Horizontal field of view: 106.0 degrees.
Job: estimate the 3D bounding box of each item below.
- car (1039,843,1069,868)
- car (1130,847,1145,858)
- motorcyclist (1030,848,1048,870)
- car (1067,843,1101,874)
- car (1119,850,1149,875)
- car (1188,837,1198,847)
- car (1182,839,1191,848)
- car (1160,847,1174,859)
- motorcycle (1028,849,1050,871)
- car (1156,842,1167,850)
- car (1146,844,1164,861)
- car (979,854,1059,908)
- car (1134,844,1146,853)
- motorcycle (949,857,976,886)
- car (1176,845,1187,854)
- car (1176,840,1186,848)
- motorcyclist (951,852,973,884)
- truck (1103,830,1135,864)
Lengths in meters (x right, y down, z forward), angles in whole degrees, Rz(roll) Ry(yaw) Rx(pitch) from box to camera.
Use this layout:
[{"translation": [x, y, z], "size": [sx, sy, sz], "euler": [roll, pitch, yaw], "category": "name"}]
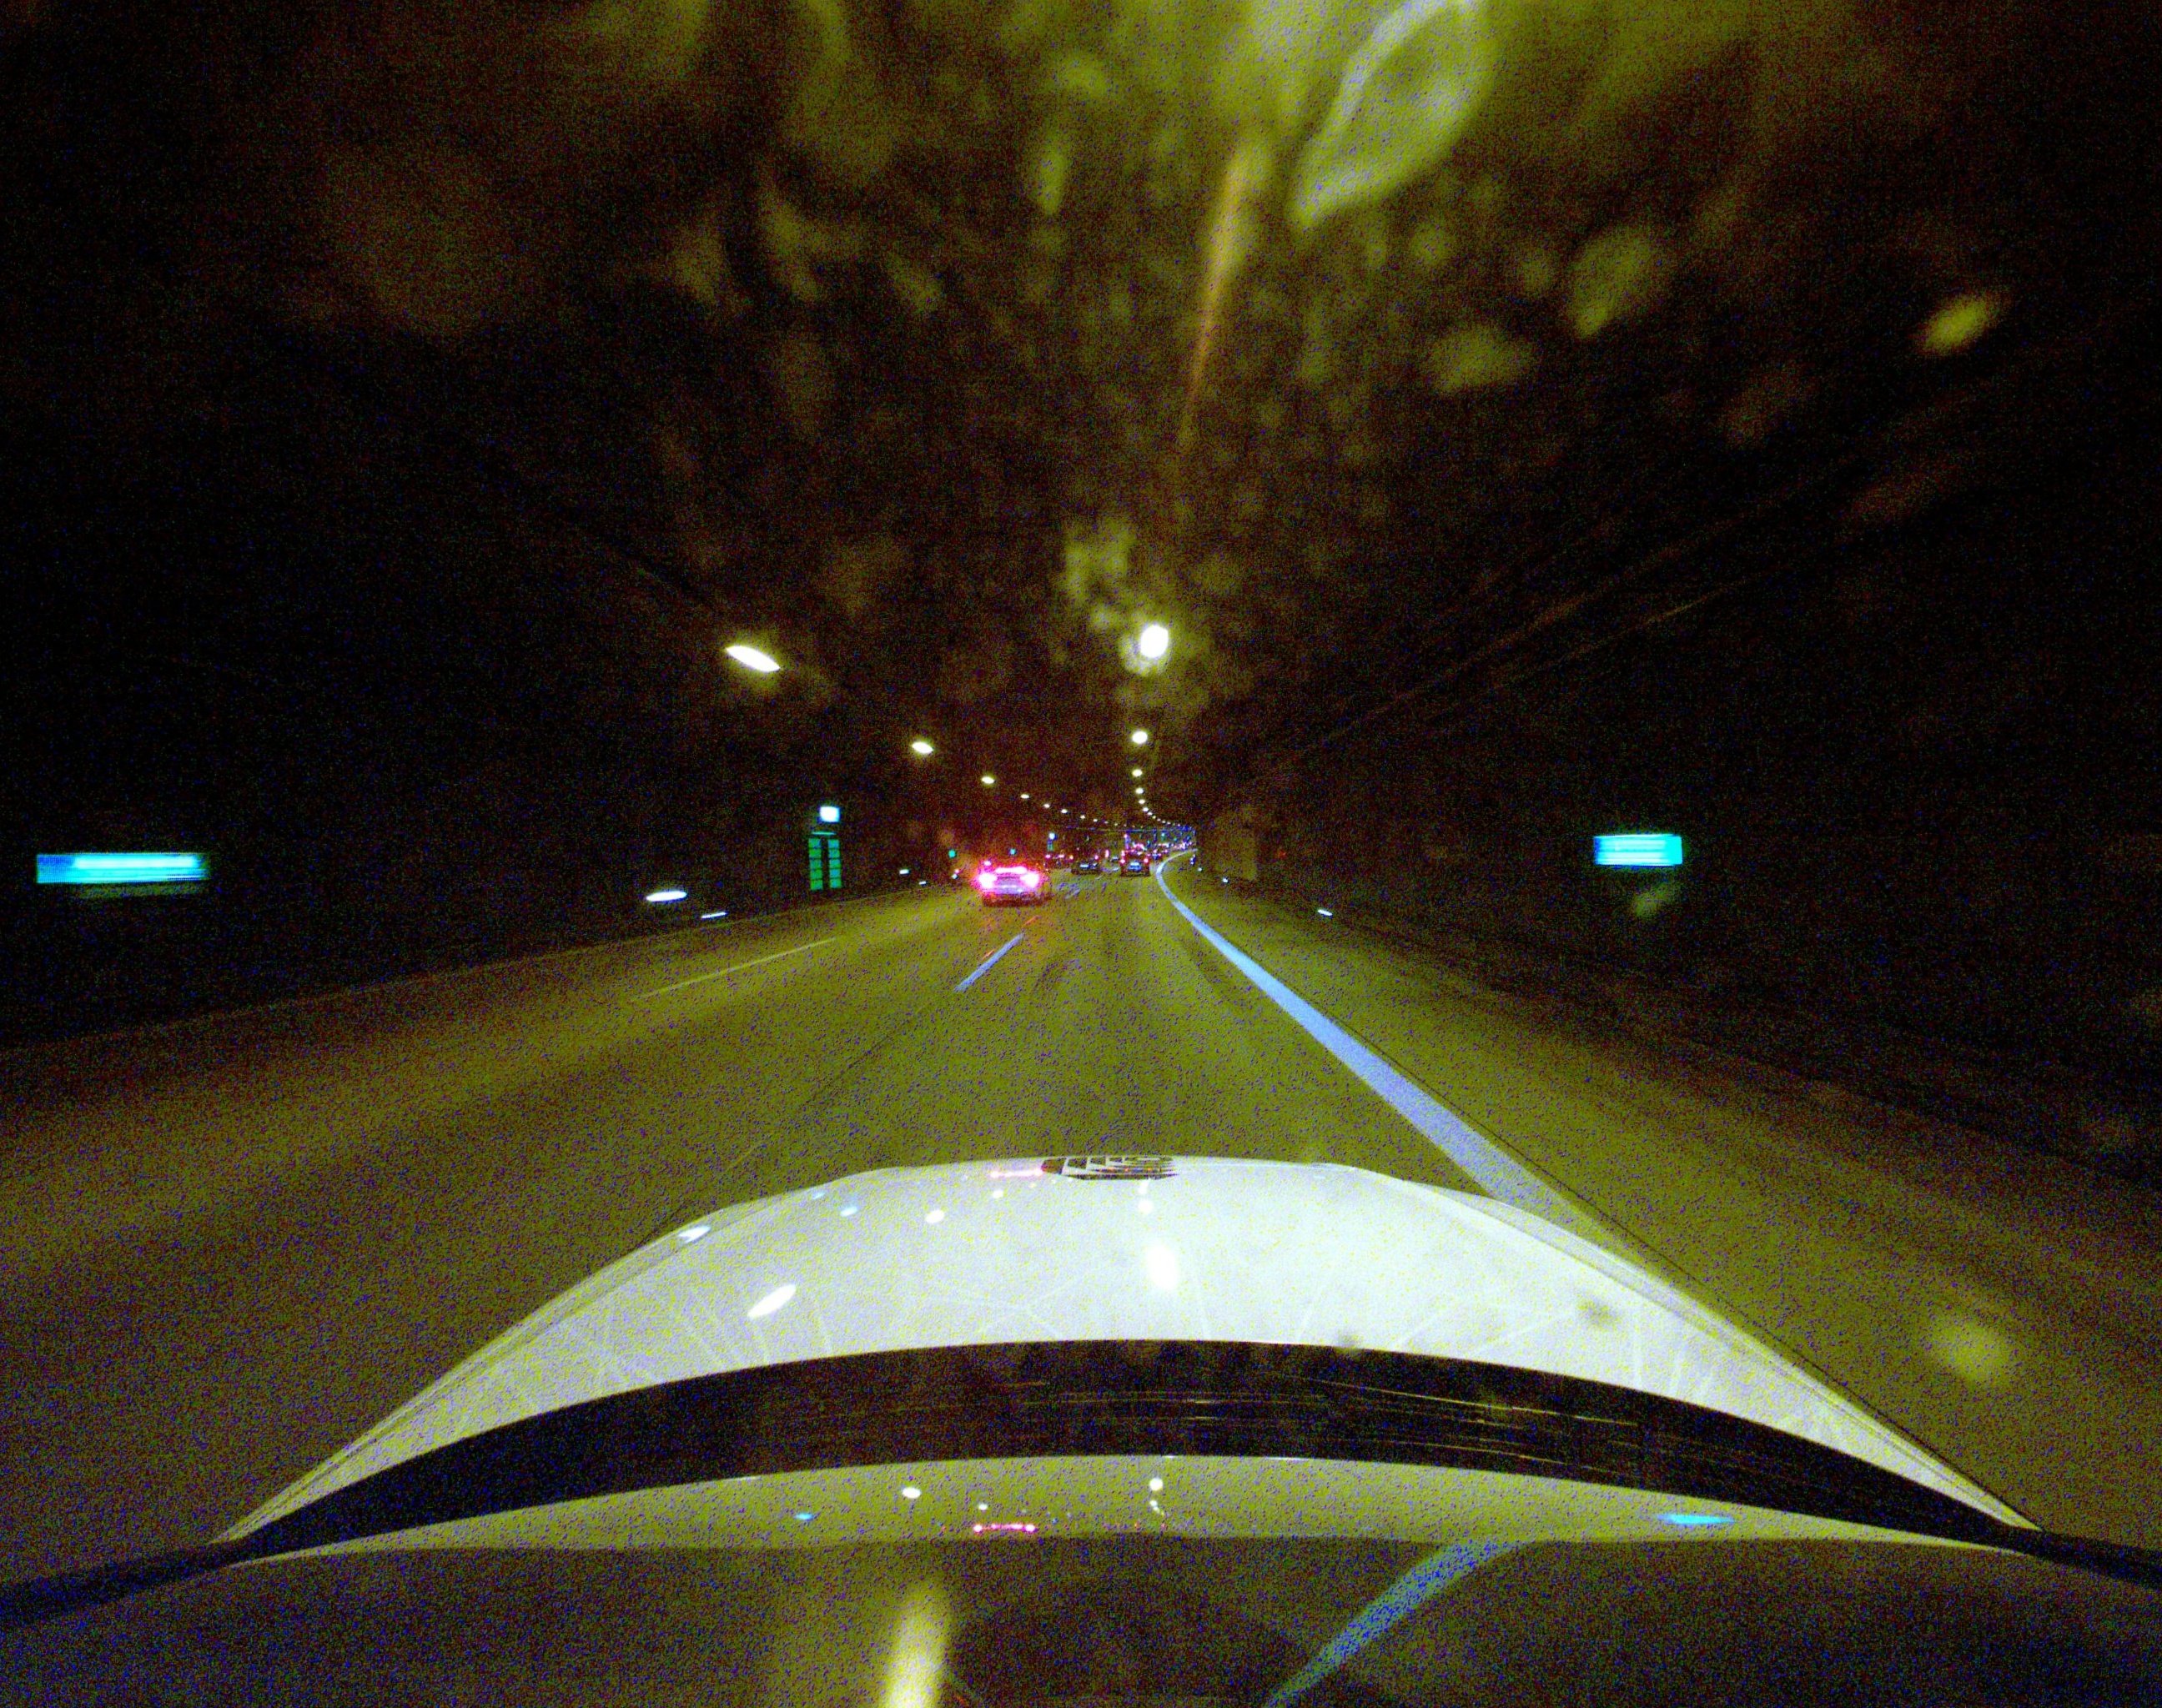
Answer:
[{"translation": [-2.278, 0.128, 68.770], "size": [1.984, 2.013, 4.006], "euler": [-1, 0, 5], "category": "car"}, {"translation": [8.550, -0.234, 122.234], "size": [1.982, 1.631, 4.009], "euler": [-1, 0, 8], "category": "car"}, {"translation": [-2.831, 0.348, 55.154], "size": [0.801, 1.448, 1.870], "euler": [-1, -1, 9], "category": "motorcyclist"}, {"translation": [0.238, 0.298, 55.389], "size": [1.900, 1.944, 3.877], "euler": [-1, 2, 5], "category": "car"}, {"translation": [3.348, 0.492, 51.039], "size": [1.734, 1.464, 3.876], "euler": [-1, 0, 4], "category": "car"}, {"translation": [25.692, -2.700, 186.426], "size": [1.980, 2.014, 4.013], "euler": [-1, -1, 12], "category": "car"}, {"translation": [26.110, -2.627, 201.462], "size": [1.980, 2.014, 4.013], "euler": [-1, -1, 12], "category": "car"}, {"translation": [12.448, -0.145, 118.628], "size": [1.941, 1.772, 4.005], "euler": [-1, -1, 5], "category": "car"}, {"translation": [-2.821, 0.411, 55.140], "size": [0.921, 1.434, 2.971], "euler": [0, -1, 9], "category": "motorcycle"}, {"translation": [18.363, -1.828, 185.889], "size": [1.918, 1.642, 4.012], "euler": [-1, -1, 11], "category": "car"}, {"translation": [8.321, -0.205, 91.470], "size": [1.848, 1.854, 4.006], "euler": [-1, 0, 5], "category": "car"}, {"translation": [-1.833, 0.774, 25.784], "size": [1.694, 1.419, 5.067], "euler": [-1, 1, 5], "category": "car"}, {"translation": [11.173, -0.986, 153.426], "size": [1.919, 1.642, 4.011], "euler": [-1, 0, 9], "category": "car"}, {"translation": [-5.517, 0.801, 38.003], "size": [0.679, 1.297, 2.402], "euler": [-1, 0, 5], "category": "motorcycle"}, {"translation": [19.310, -0.894, 156.752], "size": [1.921, 1.642, 4.005], "euler": [-1, -1, 5], "category": "car"}, {"translation": [22.960, -2.339, 186.717], "size": [1.979, 1.632, 4.014], "euler": [-1, -1, 13], "category": "car"}, {"translation": [-5.530, 0.643, 37.974], "size": [0.773, 1.452, 1.070], "euler": [-1, -1, 4], "category": "motorcyclist"}, {"translation": [4.360, -0.781, 92.020], "size": [3.023, 3.673, 7.407], "euler": [-1, 0, 7], "category": "truck"}]
